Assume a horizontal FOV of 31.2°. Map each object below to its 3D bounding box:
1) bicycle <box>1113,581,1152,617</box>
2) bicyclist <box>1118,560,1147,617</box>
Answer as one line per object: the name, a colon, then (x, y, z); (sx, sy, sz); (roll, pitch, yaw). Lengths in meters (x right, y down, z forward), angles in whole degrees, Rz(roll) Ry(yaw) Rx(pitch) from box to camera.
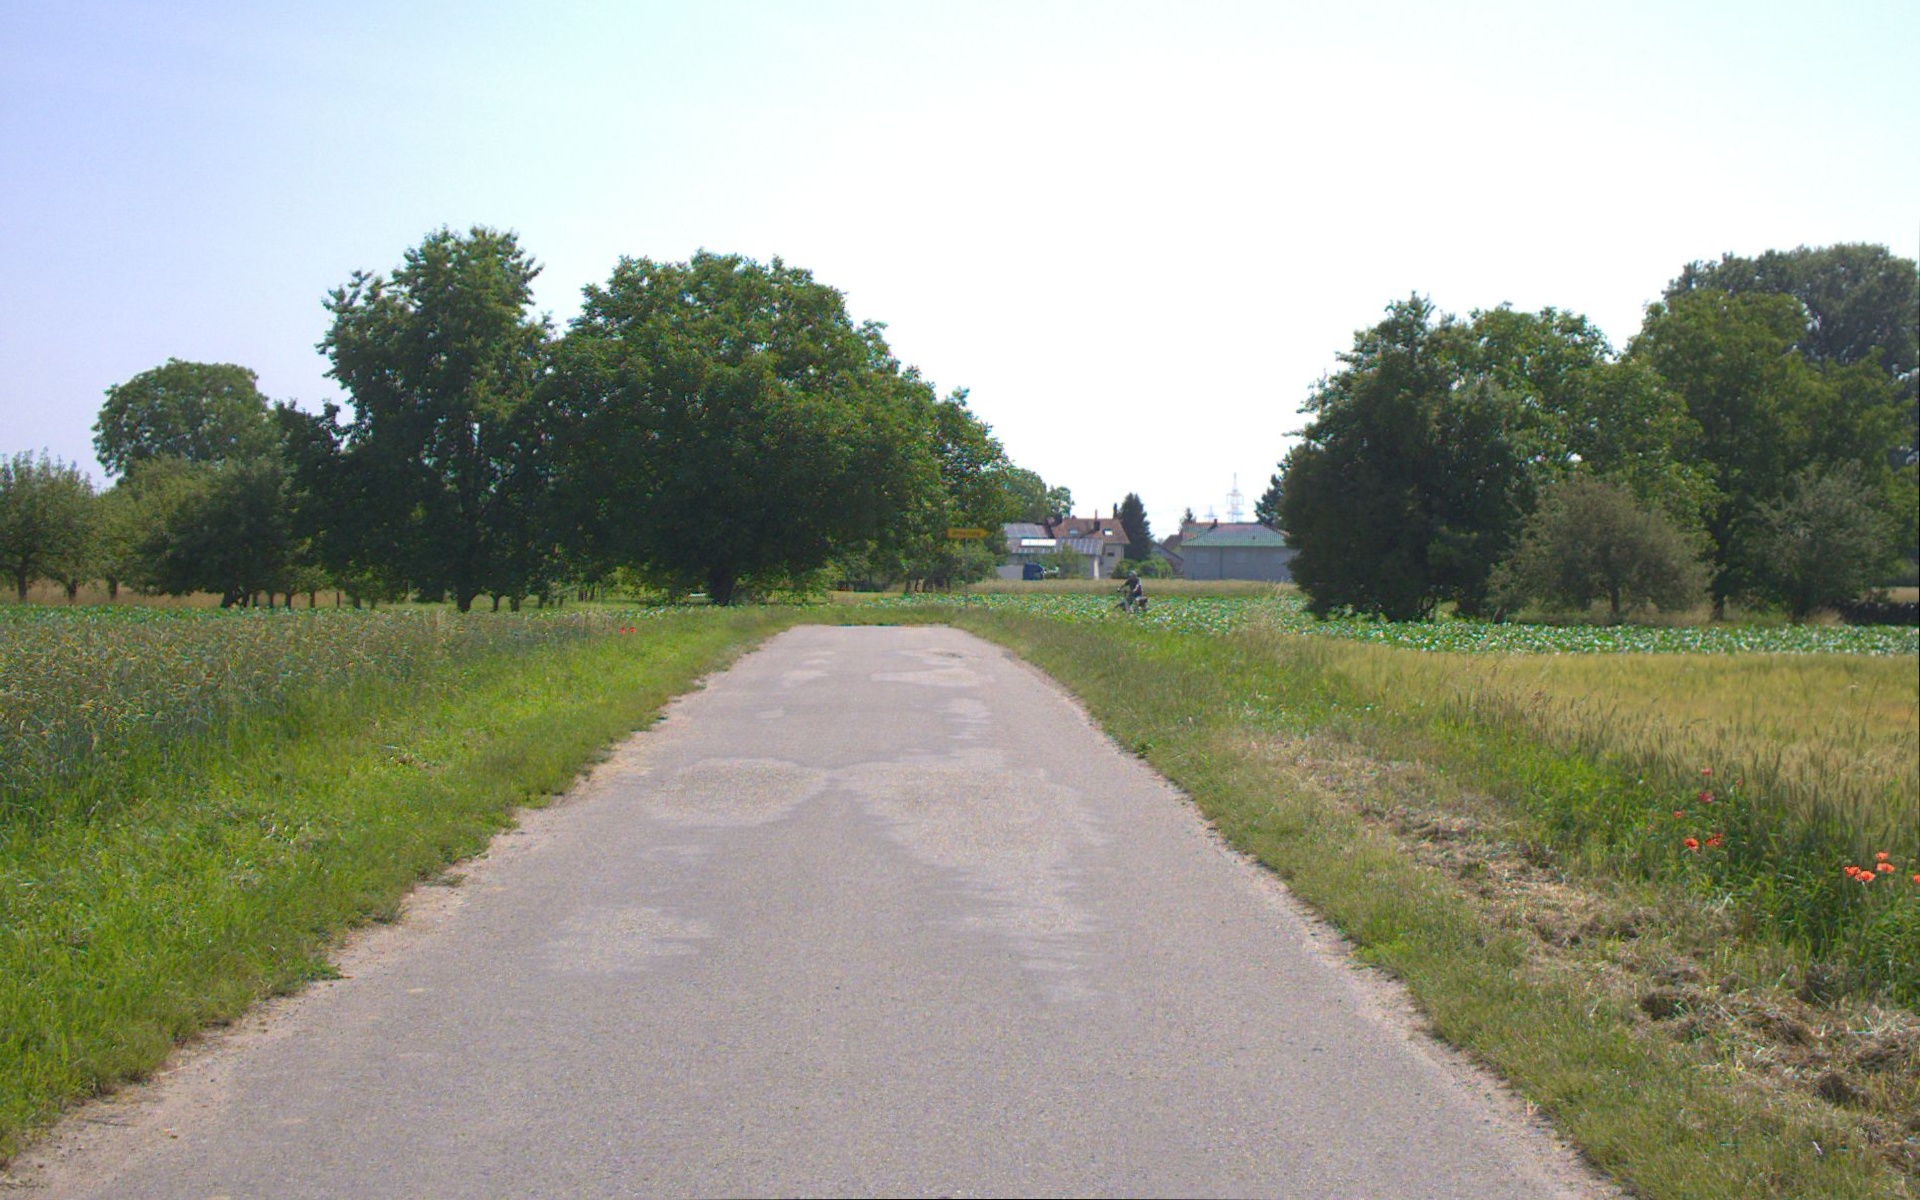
bicycle: (5.551, -0.039, 110.432); (0.751, 1.123, 1.907); (-1, 0, 18)
bicyclist: (5.549, -0.370, 110.436); (0.751, 1.785, 0.716); (-1, 0, 18)
